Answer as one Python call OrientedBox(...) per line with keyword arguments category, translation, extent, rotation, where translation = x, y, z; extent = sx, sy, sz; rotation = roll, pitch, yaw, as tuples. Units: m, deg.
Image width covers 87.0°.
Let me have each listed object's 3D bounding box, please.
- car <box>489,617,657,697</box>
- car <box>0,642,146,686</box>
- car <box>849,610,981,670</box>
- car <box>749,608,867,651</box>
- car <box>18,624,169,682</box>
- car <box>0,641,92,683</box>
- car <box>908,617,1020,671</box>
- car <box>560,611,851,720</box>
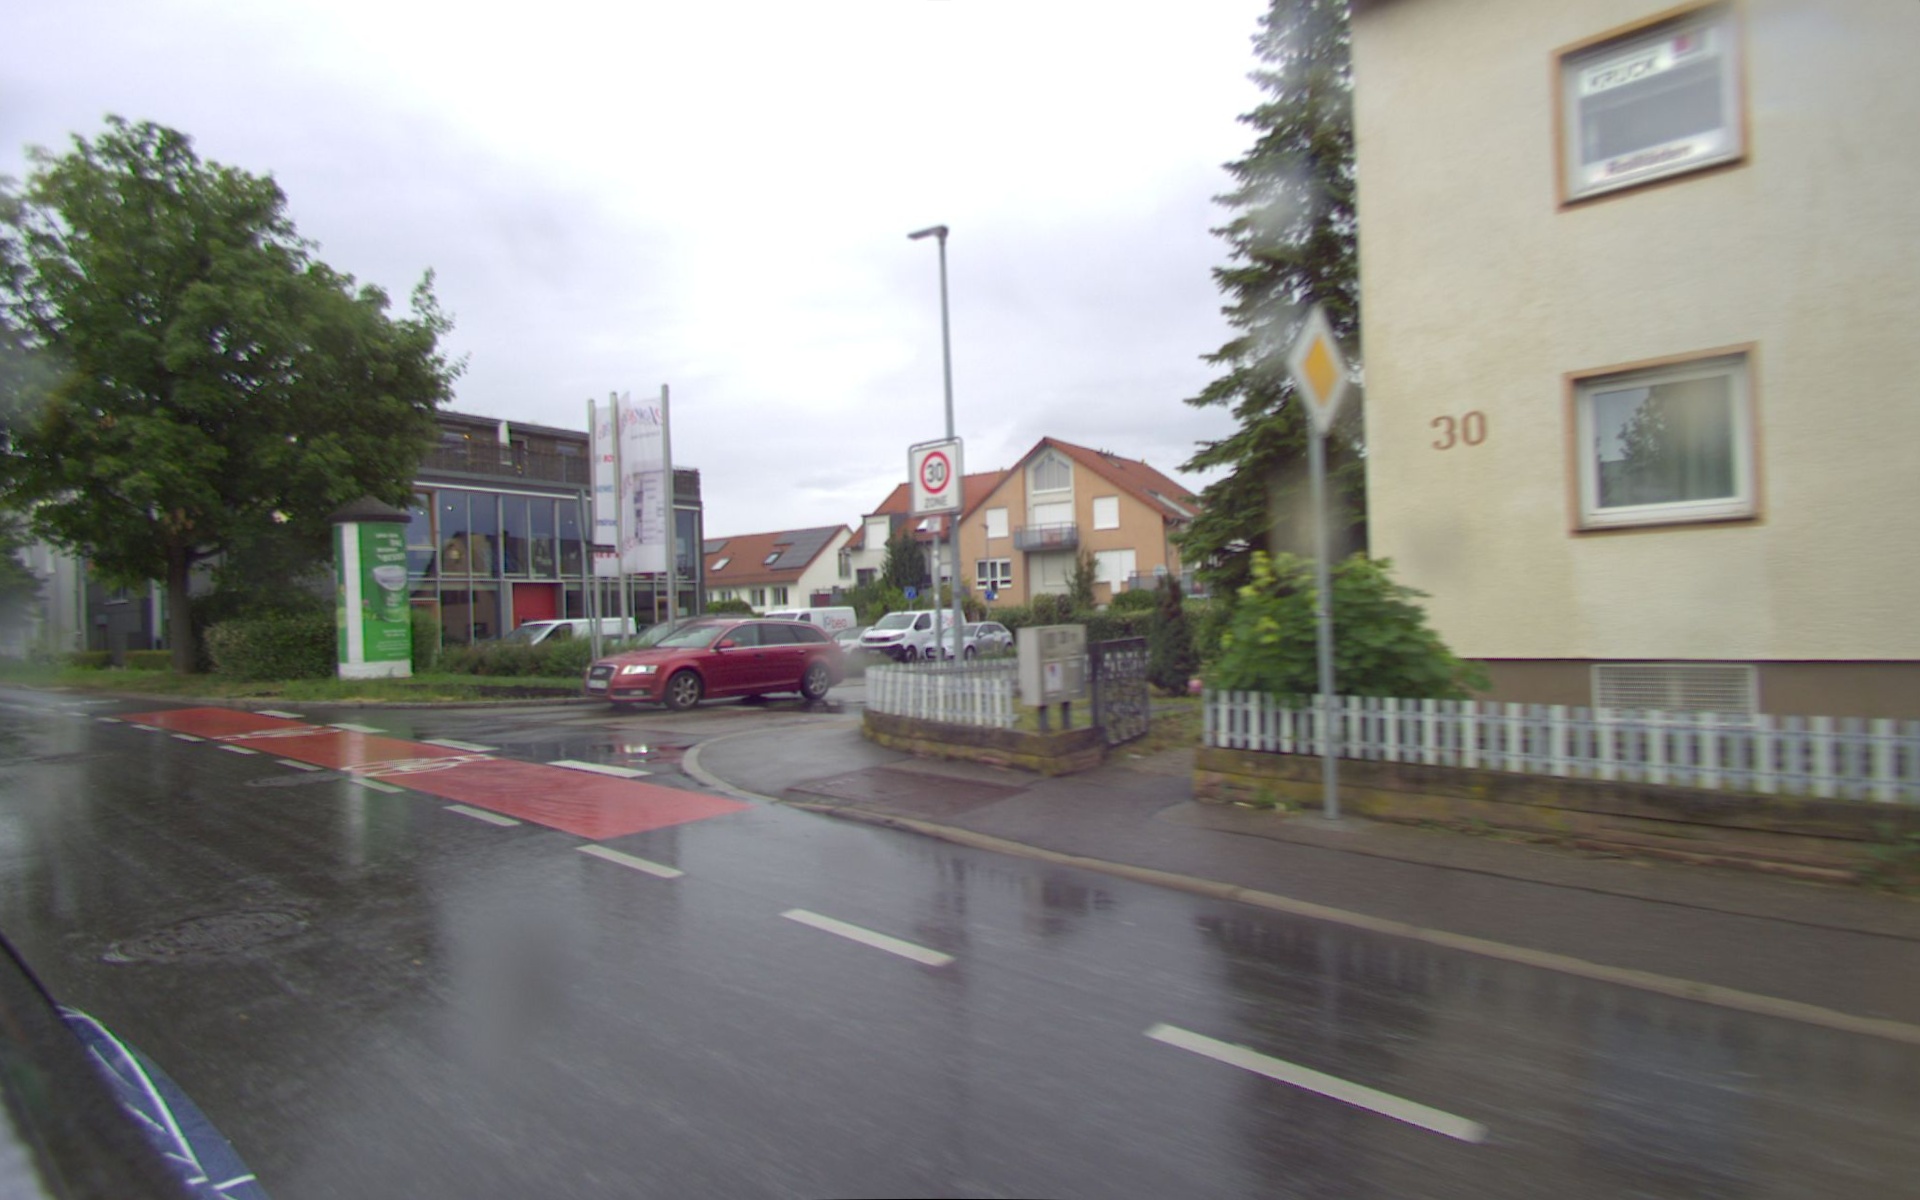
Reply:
OrientedBox(category="car", translation=(-11.763, 1.699, 31.049), extent=(2.145, 2.029, 4.367), rotation=(-5, -1, 29))
OrientedBox(category="car", translation=(-29.602, 2.092, 33.490), extent=(1.578, 1.294, 3.867), rotation=(-3, -2, 34))
OrientedBox(category="car", translation=(-1.542, 1.404, 36.617), extent=(1.877, 1.783, 5.014), rotation=(-5, -1, 38))
OrientedBox(category="car", translation=(-5.913, 1.145, 39.739), extent=(2.172, 1.579, 4.514), rotation=(-2, -2, 32))
OrientedBox(category="car", translation=(-23.519, 1.407, 27.547), extent=(1.250, 1.466, 2.884), rotation=(0, -1, 34))
OrientedBox(category="car", translation=(-27.840, 1.828, 30.035), extent=(1.467, 1.168, 2.884), rotation=(-3, -2, 34))
OrientedBox(category="car", translation=(0.192, 1.478, 34.714), extent=(1.746, 1.504, 3.914), rotation=(-5, -1, 38))
OrientedBox(category="car", translation=(-4.110, 1.013, 17.041), extent=(1.872, 1.579, 4.598), rotation=(-2, -2, 38))
